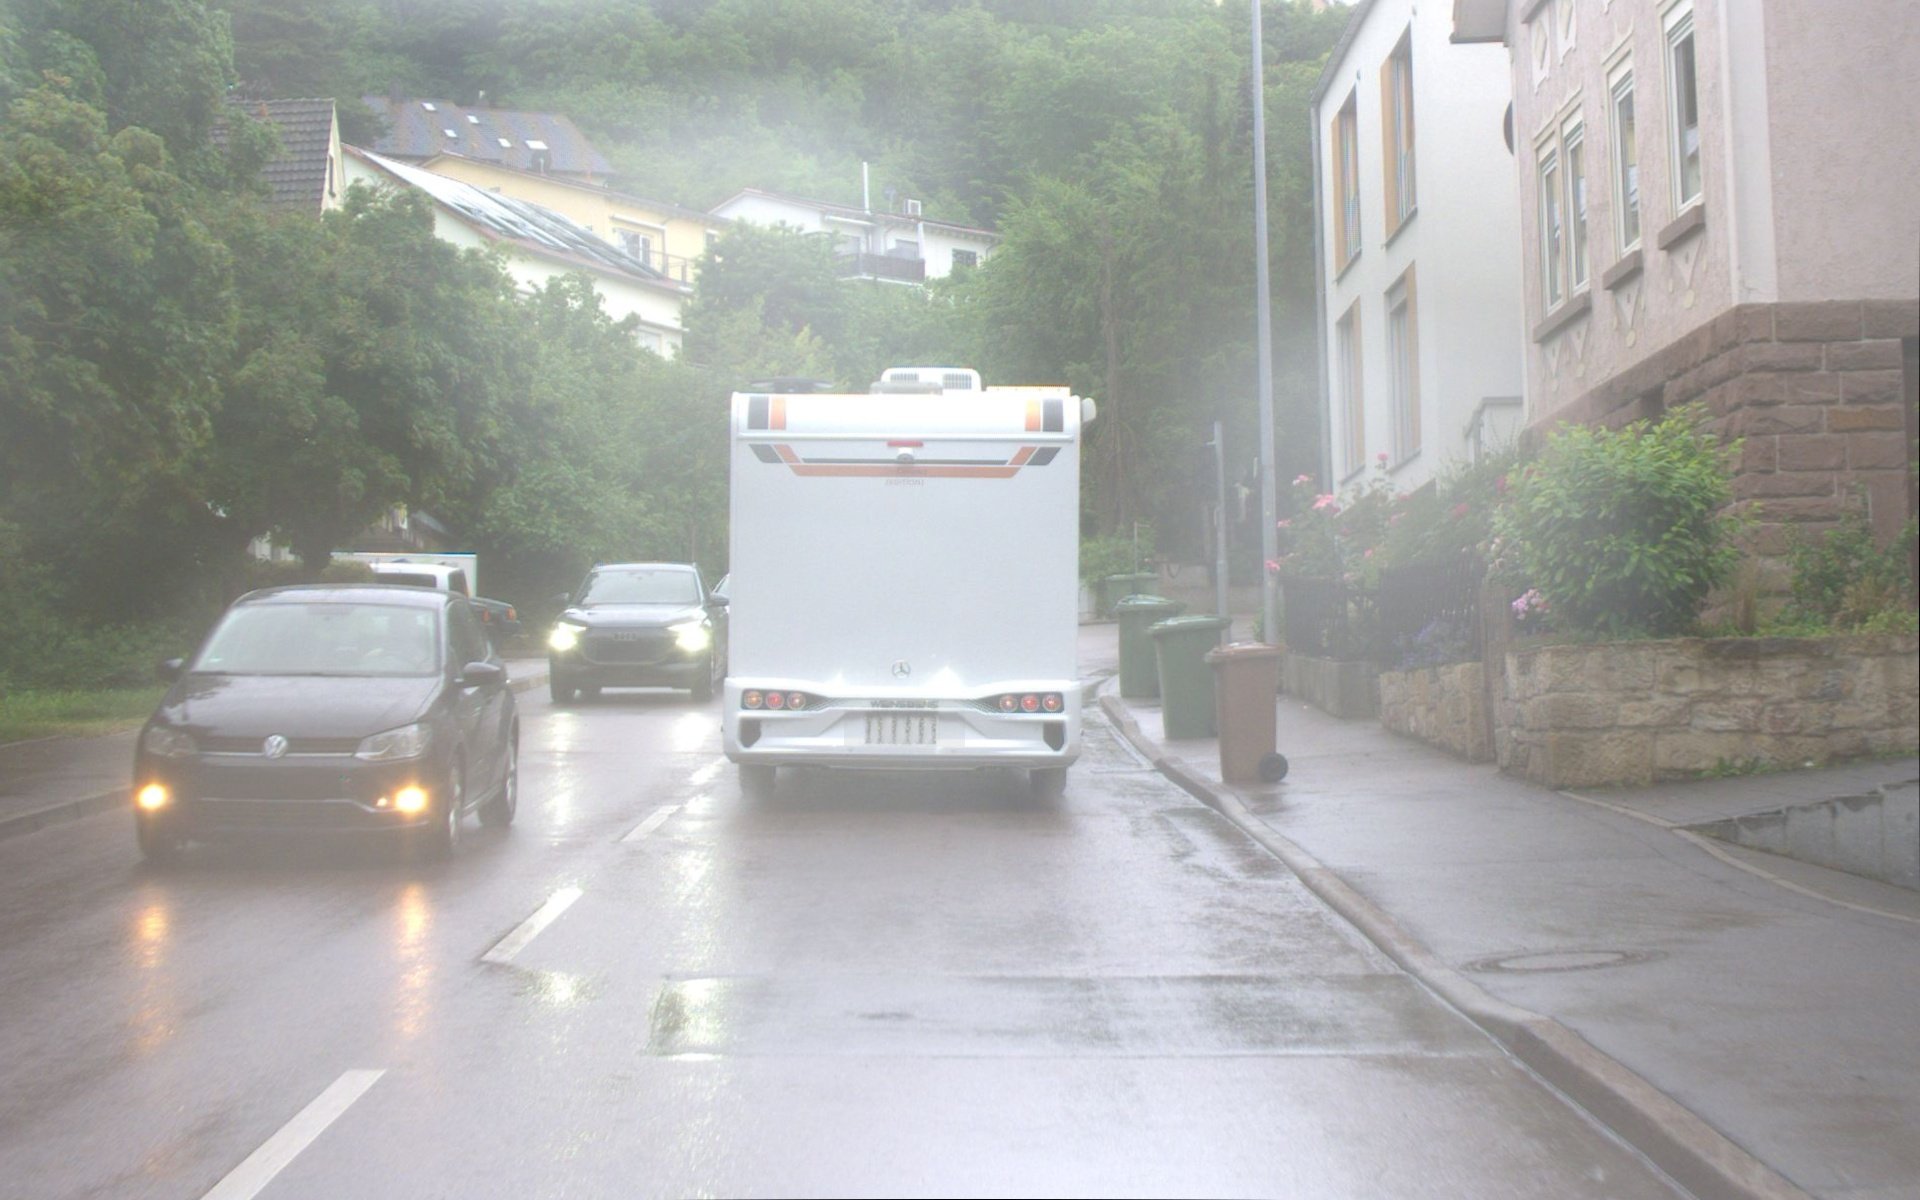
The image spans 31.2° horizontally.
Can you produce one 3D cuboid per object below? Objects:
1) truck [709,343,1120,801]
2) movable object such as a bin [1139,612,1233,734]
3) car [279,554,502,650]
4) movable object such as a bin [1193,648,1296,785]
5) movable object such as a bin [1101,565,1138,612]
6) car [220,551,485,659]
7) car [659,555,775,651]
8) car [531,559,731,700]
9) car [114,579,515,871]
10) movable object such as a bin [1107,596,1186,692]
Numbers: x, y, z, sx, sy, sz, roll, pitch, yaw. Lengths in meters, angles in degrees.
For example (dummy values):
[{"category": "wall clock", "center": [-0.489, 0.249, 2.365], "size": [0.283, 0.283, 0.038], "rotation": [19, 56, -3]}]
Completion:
[{"category": "truck", "center": [-0.313, -0.205, 24.234], "size": [2.515, 2.808, 6.202], "rotation": [0, 1, -1]}, {"category": "movable object such as a bin", "center": [2.014, 0.647, 30.716], "size": [0.796, 1.066, 0.761], "rotation": [0, 0, 1]}, {"category": "car", "center": [-10.706, 0.033, 64.680], "size": [4.075, 1.768, 1.800], "rotation": [0, 0, -9]}, {"category": "movable object such as a bin", "center": [1.921, 0.779, 23.277], "size": [0.630, 0.894, 0.712], "rotation": [0, 0, 0]}, {"category": "movable object such as a bin", "center": [3.874, -0.281, 83.601], "size": [0.666, 1.136, 0.626], "rotation": [0, 1, -30]}, {"category": "car", "center": [-10.291, 0.077, 58.426], "size": [4.106, 1.794, 2.000], "rotation": [0, 1, 2]}, {"category": "car", "center": [-4.027, 0.024, 57.500], "size": [1.804, 1.548, 3.830], "rotation": [0, 1, -2]}, {"category": "car", "center": [-3.940, 0.320, 41.813], "size": [1.918, 1.618, 4.363], "rotation": [0, 1, 1]}, {"category": "car", "center": [-3.474, 0.615, 19.086], "size": [1.618, 1.436, 3.737], "rotation": [0, 1, -2]}, {"category": "movable object such as a bin", "center": [2.067, 0.484, 38.173], "size": [0.835, 1.057, 0.750], "rotation": [0, 0, 1]}]
